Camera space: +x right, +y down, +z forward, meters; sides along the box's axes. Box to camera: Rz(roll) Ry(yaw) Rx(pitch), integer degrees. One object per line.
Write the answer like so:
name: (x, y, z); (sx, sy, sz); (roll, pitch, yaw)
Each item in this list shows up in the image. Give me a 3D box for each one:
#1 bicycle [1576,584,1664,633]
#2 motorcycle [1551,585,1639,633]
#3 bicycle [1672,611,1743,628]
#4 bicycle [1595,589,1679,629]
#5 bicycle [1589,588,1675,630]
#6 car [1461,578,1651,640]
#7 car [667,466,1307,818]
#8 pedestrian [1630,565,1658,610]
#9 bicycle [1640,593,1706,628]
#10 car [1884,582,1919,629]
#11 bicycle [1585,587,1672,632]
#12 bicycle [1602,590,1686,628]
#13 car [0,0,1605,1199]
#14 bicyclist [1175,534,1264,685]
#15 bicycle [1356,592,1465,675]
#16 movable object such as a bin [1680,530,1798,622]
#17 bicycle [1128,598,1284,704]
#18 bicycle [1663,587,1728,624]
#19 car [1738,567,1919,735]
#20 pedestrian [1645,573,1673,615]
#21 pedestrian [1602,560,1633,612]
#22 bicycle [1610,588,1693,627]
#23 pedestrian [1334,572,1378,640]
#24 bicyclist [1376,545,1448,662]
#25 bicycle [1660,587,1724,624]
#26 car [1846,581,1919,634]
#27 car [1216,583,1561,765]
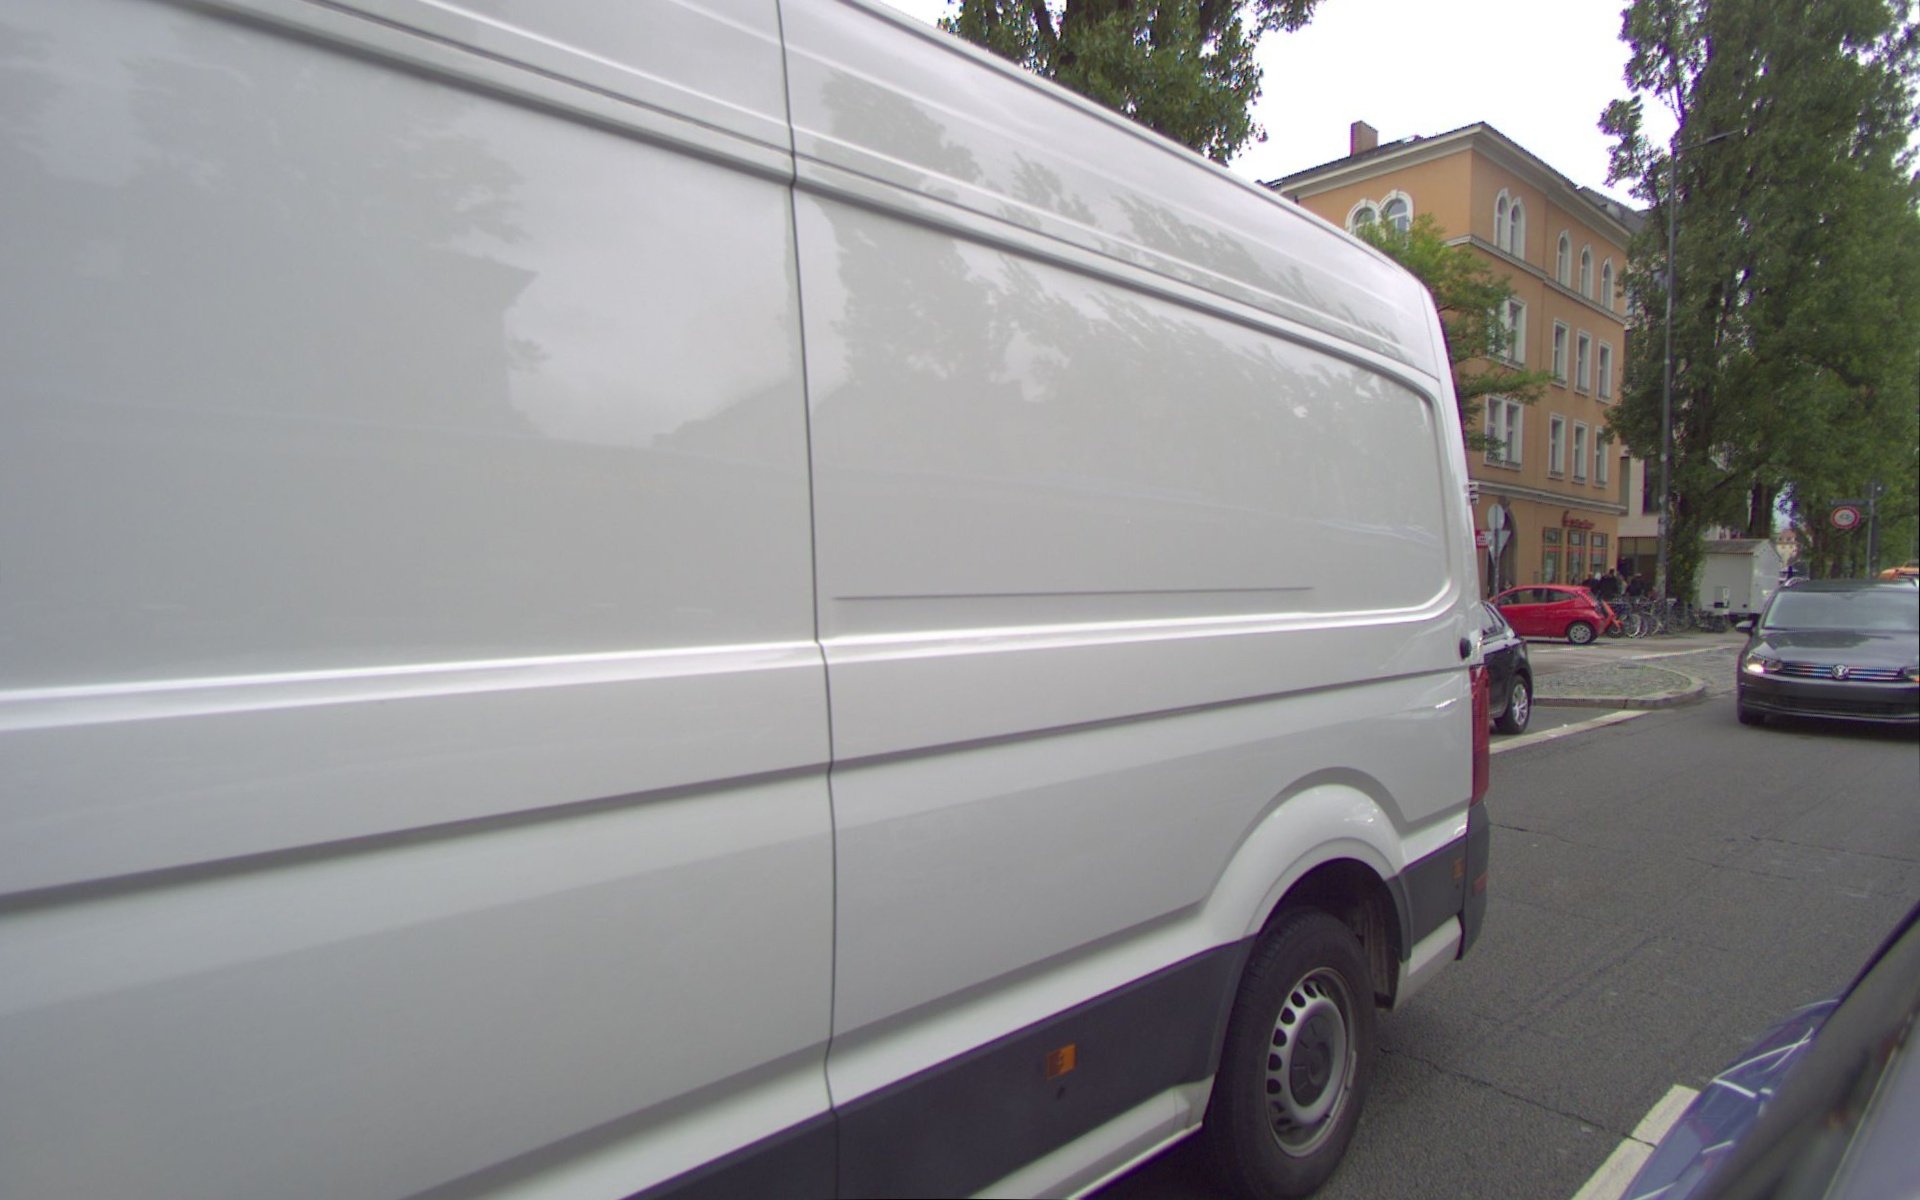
bicycle: (18.139, 0.206, 27.845); (0.551, 1.254, 1.945); (0, 2, -39)
motorcycle: (17.207, 0.229, 27.480); (1.939, 1.236, 0.510); (2, 1, 25)
bicycle: (22.795, 0.584, 30.889); (1.671, 0.378, 0.818); (4, 3, 42)
bicycle: (19.558, 0.237, 29.267); (0.551, 1.089, 1.945); (0, 2, -39)
bicycle: (19.051, 0.230, 28.734); (0.551, 1.102, 1.945); (0, 2, -39)
car: (14.850, 0.175, 25.294); (3.979, 1.451, 1.597); (1, 1, 36)
car: (0.437, 0.163, 6.923); (4.371, 1.658, 1.805); (-1, 1, -42)
pedestrian: (25.872, -0.472, 38.290); (0.759, 1.681, 0.744); (-1, 0, -44)
bicycle: (21.795, 0.305, 30.943); (1.597, 1.022, 0.337); (2, 2, 43)
car: (34.730, 0.173, 36.375); (4.421, 1.634, 1.787); (-1, 1, -42)
bicycle: (18.635, 0.246, 28.237); (0.551, 1.151, 1.945); (0, 2, -39)
bicycle: (20.009, 0.246, 29.652); (0.551, 1.022, 1.945); (0, 2, -39)
car: (-1.213, 0.148, 1.733); (6.611, 2.524, 2.067); (0, 1, -41)
bicyclist: (3.193, 0.099, 12.480); (0.656, 1.779, 0.829); (0, 1, -45)
bicycle: (6.830, 0.467, 15.292); (2.067, 1.134, 0.736); (-1, 2, -43)
movable object such as a bin: (28.735, -0.913, 37.297); (4.463, 3.175, 2.445); (0, 3, -40)
bicycle: (3.034, 0.567, 12.340); (2.068, 1.134, 0.885); (-1, 2, -45)
bicycle: (23.042, 0.167, 31.735); (1.588, 1.098, 0.339); (2, 1, 28)
car: (10.297, 0.463, 11.491); (1.878, 1.611, 4.126); (1, 1, 44)
pedestrian: (27.290, -0.241, 39.519); (0.603, 1.590, 0.746); (-1, 0, -38)
pedestrian: (25.105, -0.535, 38.649); (0.788, 1.973, 0.838); (-1, 0, -43)
bicycle: (20.565, 0.209, 30.134); (0.551, 1.098, 1.945); (0, 2, -39)
pedestrian: (9.492, 0.133, 24.245); (0.651, 1.590, 0.746); (-1, 0, -38)
bicyclist: (6.813, 0.043, 15.263); (0.736, 1.708, 0.740); (0, 1, -43)
bicycle: (23.183, 0.165, 32.071); (1.593, 1.098, 0.319); (2, 1, 28)
car: (29.274, 0.193, 31.659); (4.421, 1.572, 1.787); (-1, 1, -42)
car: (4.366, 0.567, 10.048); (3.884, 1.434, 1.696); (-1, 2, -43)
